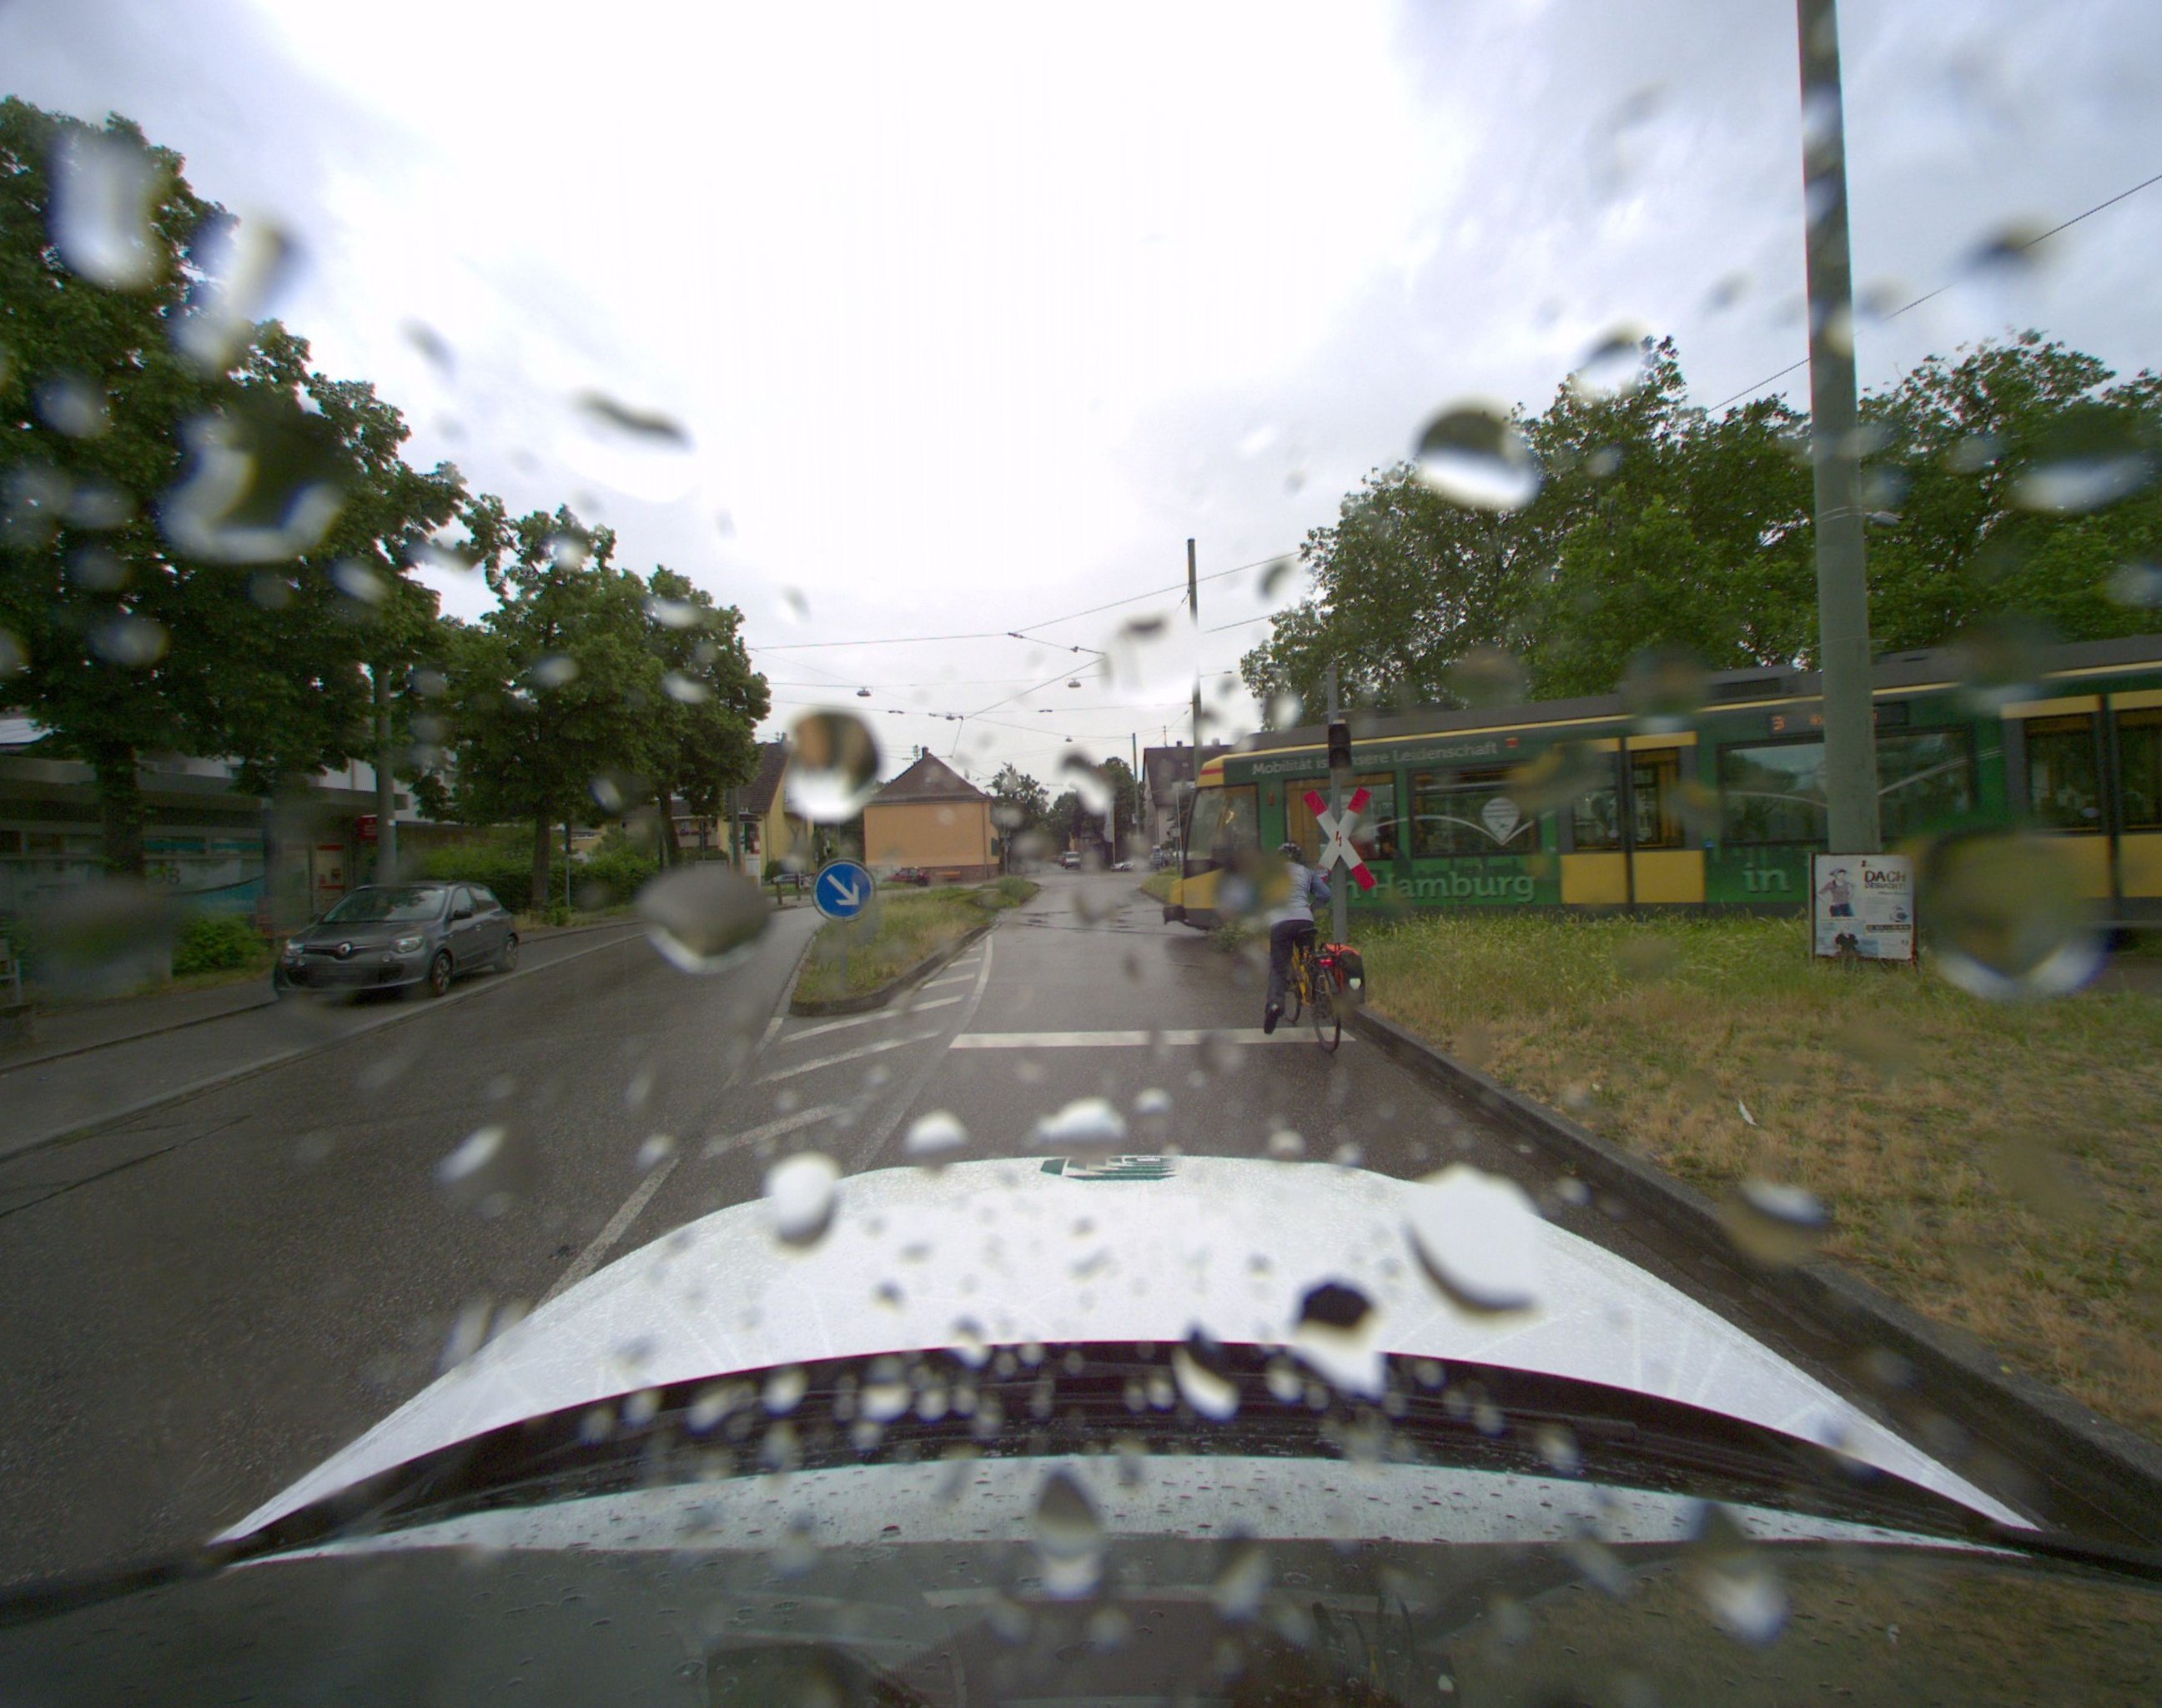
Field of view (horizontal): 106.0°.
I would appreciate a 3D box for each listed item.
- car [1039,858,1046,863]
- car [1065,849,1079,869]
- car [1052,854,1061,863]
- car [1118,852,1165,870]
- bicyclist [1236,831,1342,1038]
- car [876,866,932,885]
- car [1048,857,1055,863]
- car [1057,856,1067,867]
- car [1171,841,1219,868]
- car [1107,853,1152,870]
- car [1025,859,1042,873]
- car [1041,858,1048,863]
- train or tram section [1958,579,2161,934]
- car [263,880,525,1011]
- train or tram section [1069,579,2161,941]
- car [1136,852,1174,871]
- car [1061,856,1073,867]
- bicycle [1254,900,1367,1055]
[{"bbox_3d":[-11.028,1.846,234.278,1.799,1.461,3.999,0,-1,0],"label":"car"},{"bbox_3d":[-1.132,0.680,108.280,1.799,2.627,3.999,0,-1,0],"label":"car"},{"bbox_3d":[-4.934,0.935,165.002,1.799,1.811,3.999,0,-1,0],"label":"car"},{"bbox_3d":[5.713,0.628,76.901,4.015,1.675,1.979,0,-1,-34],"label":"car"},{"bbox_3d":[1.720,0.638,6.839,0.665,1.626,0.853,0,-1,0],"label":"bicyclist"},{"bbox_3d":[-13.661,1.666,63.075,3.979,1.456,1.831,0,-1,-5],"label":"car"},{"bbox_3d":[-7.716,1.545,211.709,1.799,1.564,3.999,0,-1,0],"label":"car"},{"bbox_3d":[-3.455,1.371,147.717,1.799,1.811,3.999,0,-1,0],"label":"car"},{"bbox_3d":[11.180,0.027,79.721,4.362,2.566,2.008,-1,-1,16],"label":"car"},{"bbox_3d":[4.743,0.699,79.994,4.015,1.643,1.979,0,-1,-34],"label":"car"},{"bbox_3d":[-5.606,1.409,96.023,1.799,1.651,3.999,0,-1,0],"label":"car"},{"bbox_3d":[-10.157,1.787,228.962,1.799,1.461,3.999,0,-1,0],"label":"car"},{"bbox_3d":[13.585,-1.084,8.679,4.932,3.553,2.782,-3,-1,18],"label":"train or tram section"},{"bbox_3d":[-9.695,1.179,11.880,1.621,1.496,3.645,0,-1,-18],"label":"car"},{"bbox_3d":[6.291,-0.683,12.018,12.966,3.553,2.786,-3,-1,27],"label":"train or tram section"},{"bbox_3d":[6.651,0.653,72.784,1.975,1.640,4.024,-1,-1,27],"label":"car"},{"bbox_3d":[-2.232,1.167,128.191,1.799,1.811,3.999,0,-1,0],"label":"car"},{"bbox_3d":[1.847,0.944,6.775,0.444,1.004,1.728,-2,0,1],"label":"bicycle"}]
